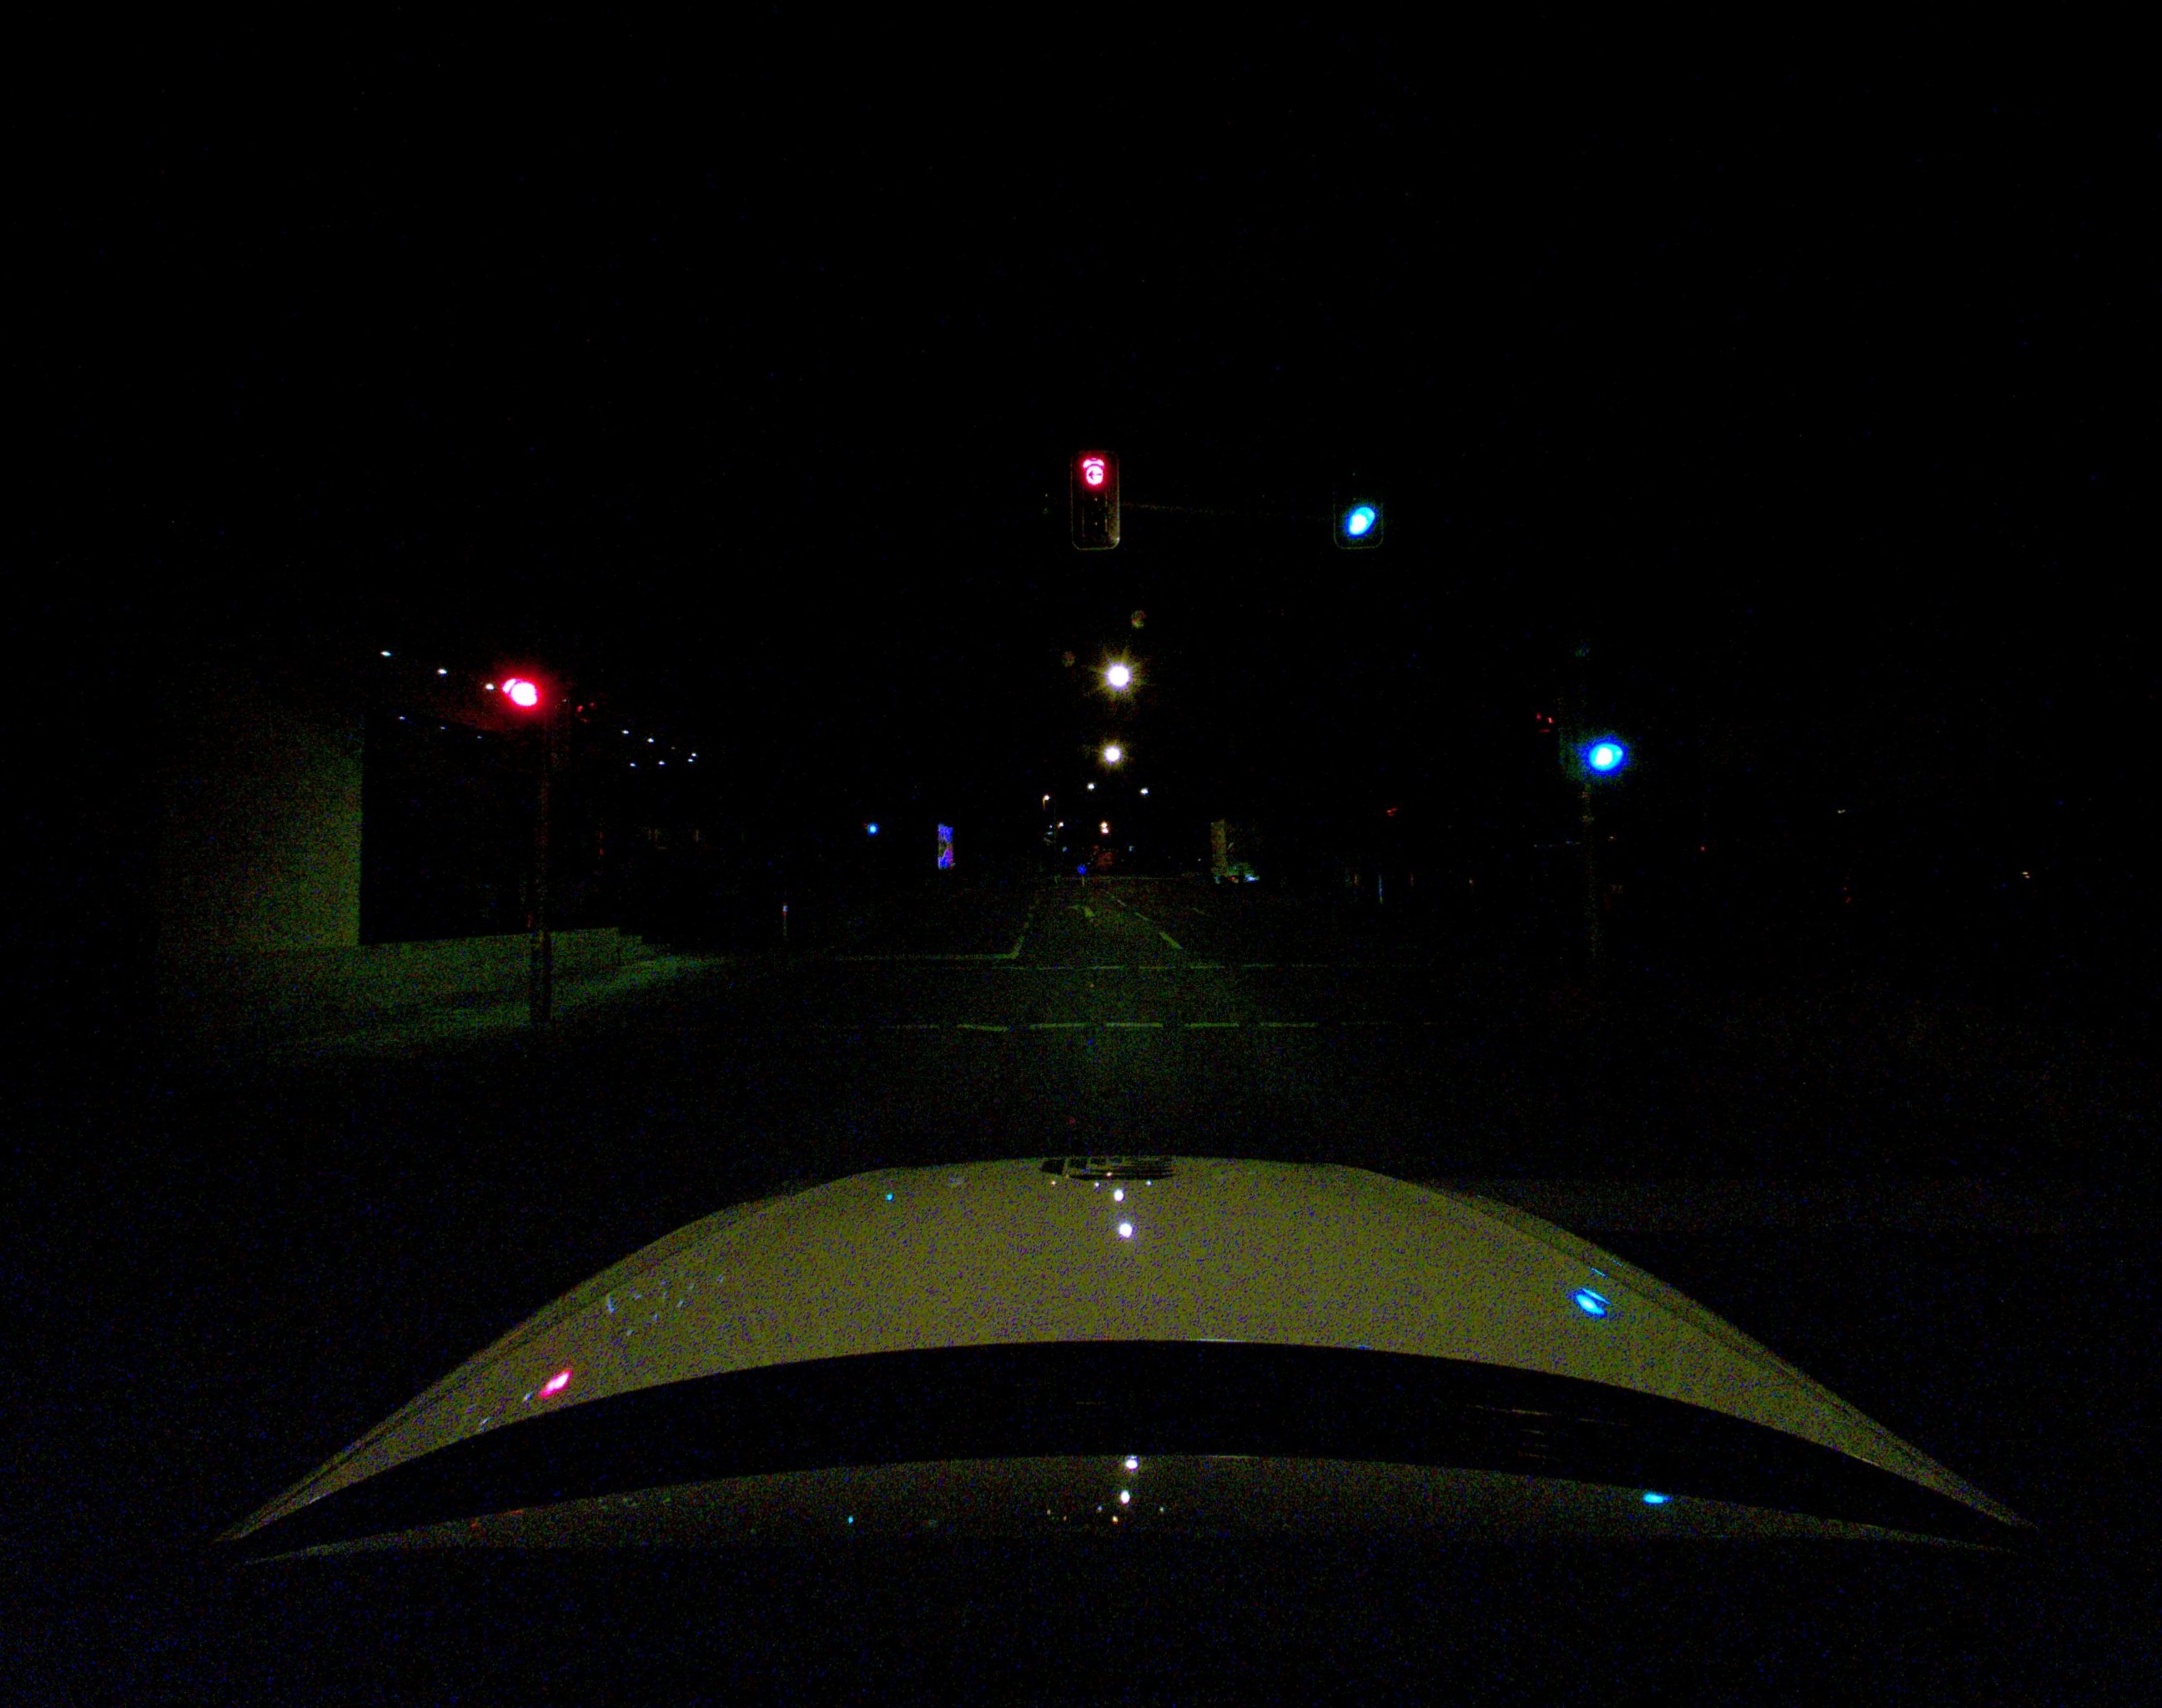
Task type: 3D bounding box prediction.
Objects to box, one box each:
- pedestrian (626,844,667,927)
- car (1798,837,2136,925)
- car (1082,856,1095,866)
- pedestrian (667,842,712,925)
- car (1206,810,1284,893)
[{"bbox_3d":[-9.265,0.661,17.392,0.568,1.731,0.544,0,-1,1],"label":"pedestrian"},{"bbox_3d":[17.454,0.566,16.280,4.342,1.560,1.807,-2,-3,8],"label":"car"},{"bbox_3d":[1.248,1.168,134.510,1.901,1.557,3.906,0,-1,2],"label":"car"},{"bbox_3d":[-8.613,0.637,17.921,0.568,1.778,0.737,1,-1,1],"label":"pedestrian"},{"bbox_3d":[6.762,-0.078,34.231,2.287,3.093,5.845,-2,-1,3],"label":"car"}]
